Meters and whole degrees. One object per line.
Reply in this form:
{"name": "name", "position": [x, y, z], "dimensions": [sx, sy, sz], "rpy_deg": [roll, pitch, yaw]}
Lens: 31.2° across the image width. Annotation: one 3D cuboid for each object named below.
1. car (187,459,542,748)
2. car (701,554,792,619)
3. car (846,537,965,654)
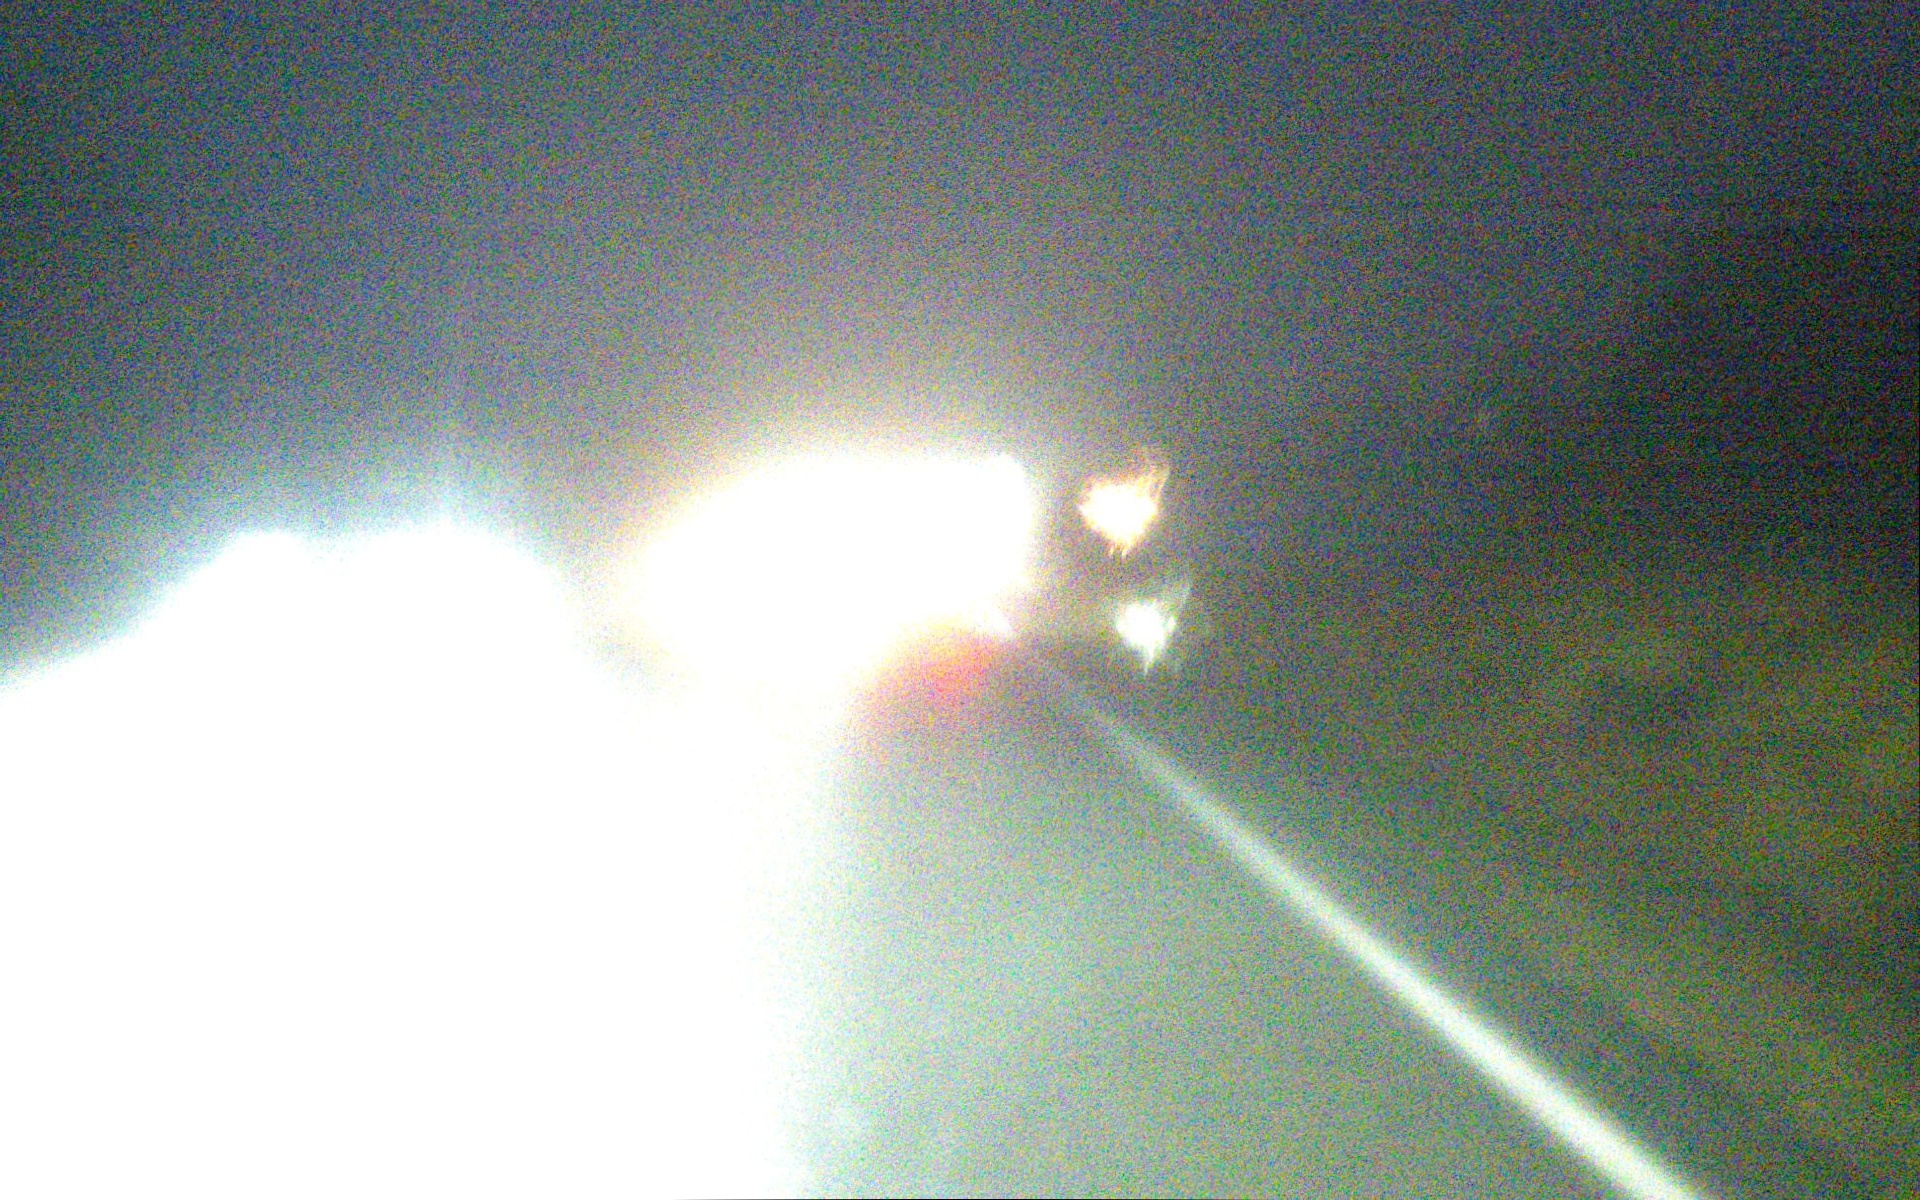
{"name": "car", "position": [-4.443, 0.006, 26.251], "dimensions": [1.993, 2.007, 4.000], "rpy_deg": [1, 1, 0]}
{"name": "car", "position": [-5.230, -0.349, 84.751], "dimensions": [1.993, 1.543, 4.000], "rpy_deg": [-1, 1, 0]}
{"name": "car", "position": [-0.950, -0.105, 57.544], "dimensions": [1.842, 1.734, 4.001], "rpy_deg": [2, 2, -2]}
